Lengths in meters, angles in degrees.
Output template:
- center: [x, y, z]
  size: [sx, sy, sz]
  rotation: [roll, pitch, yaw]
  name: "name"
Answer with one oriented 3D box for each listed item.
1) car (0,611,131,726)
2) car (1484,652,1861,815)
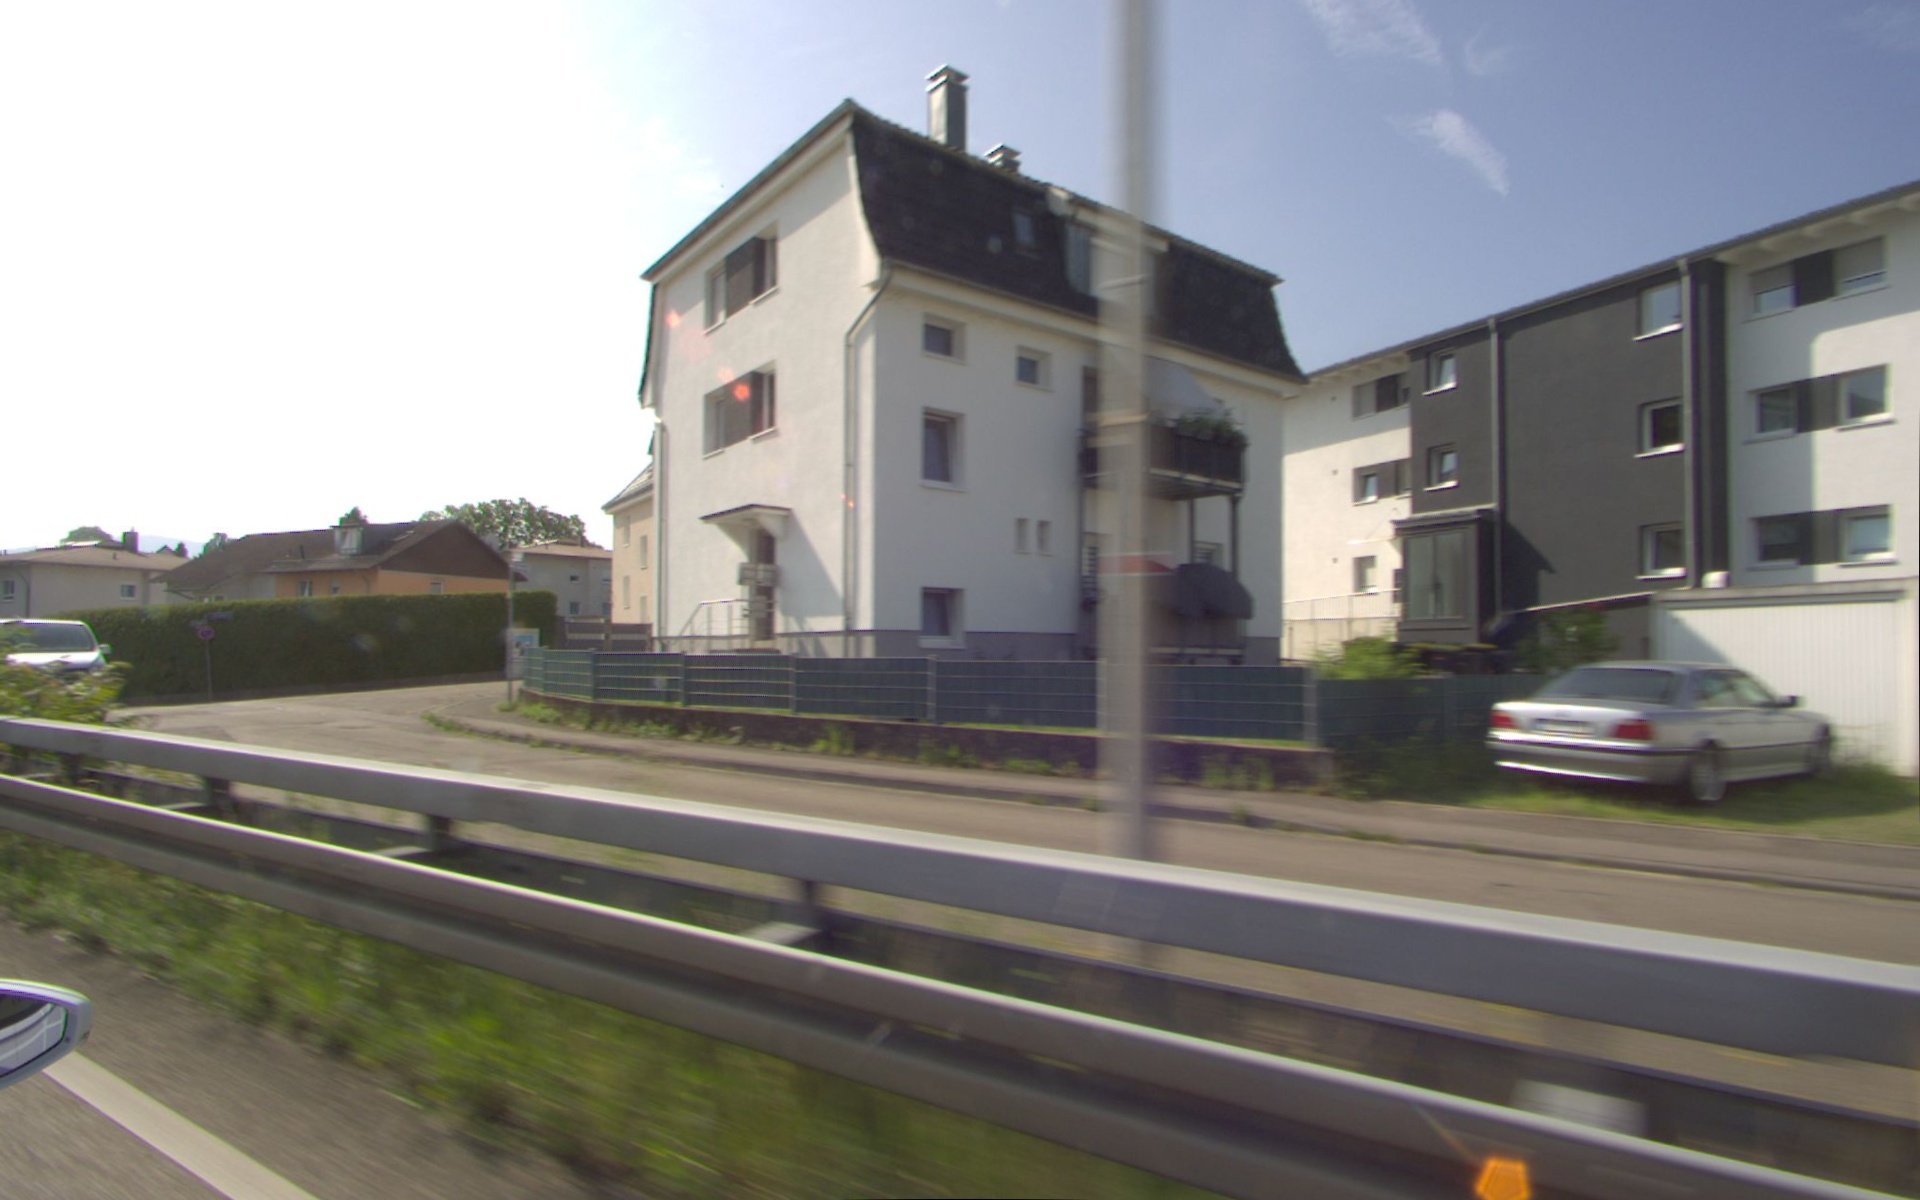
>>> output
- center: [-18.129, 1.226, 19.292]
  size: [5.289, 1.970, 1.988]
  rotation: [-1, -1, 35]
  name: "car"
- center: [8.160, 1.363, 11.374]
  size: [4.544, 1.366, 1.746]
  rotation: [0, 0, -30]
  name: "car"
